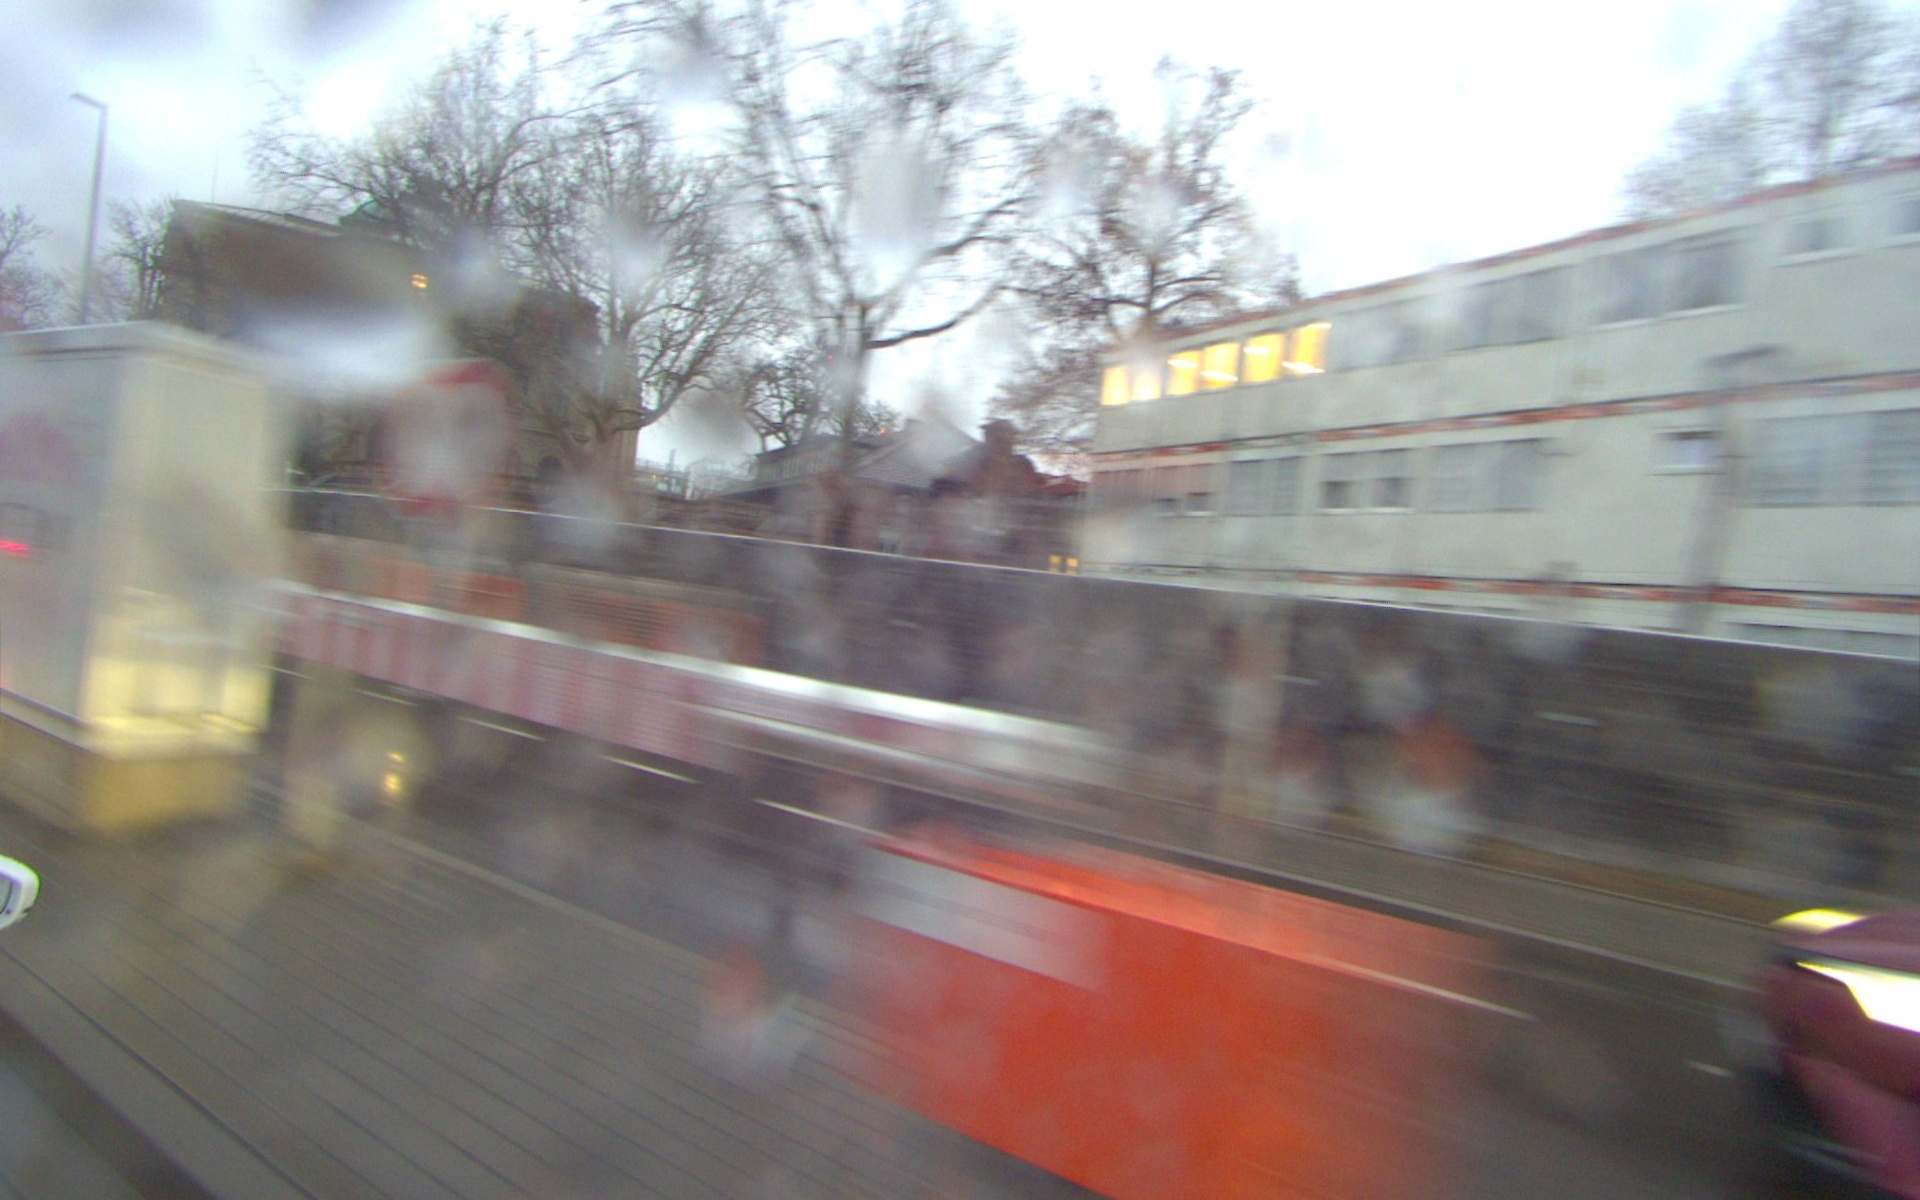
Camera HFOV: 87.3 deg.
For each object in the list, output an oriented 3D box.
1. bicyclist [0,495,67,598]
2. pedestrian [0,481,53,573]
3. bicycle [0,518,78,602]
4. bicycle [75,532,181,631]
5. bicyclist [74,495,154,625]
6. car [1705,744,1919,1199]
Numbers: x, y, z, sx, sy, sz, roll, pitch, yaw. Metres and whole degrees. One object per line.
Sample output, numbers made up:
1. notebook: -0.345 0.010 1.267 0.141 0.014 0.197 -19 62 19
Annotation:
1. bicyclist: -15.651 -0.901 16.988 0.823 1.611 0.501 7 1 29
2. pedestrian: -20.702 -1.617 22.266 0.885 1.903 0.532 7 1 29
3. bicycle: -15.597 -0.687 16.940 1.915 1.200 0.412 7 1 29
4. bicycle: -12.021 -0.280 14.514 1.994 1.200 0.412 7 1 29
5. bicyclist: -12.380 -0.577 14.727 0.823 1.789 0.501 7 1 29
6. car: 4.489 1.436 2.520 3.934 1.496 1.726 6 -3 32
